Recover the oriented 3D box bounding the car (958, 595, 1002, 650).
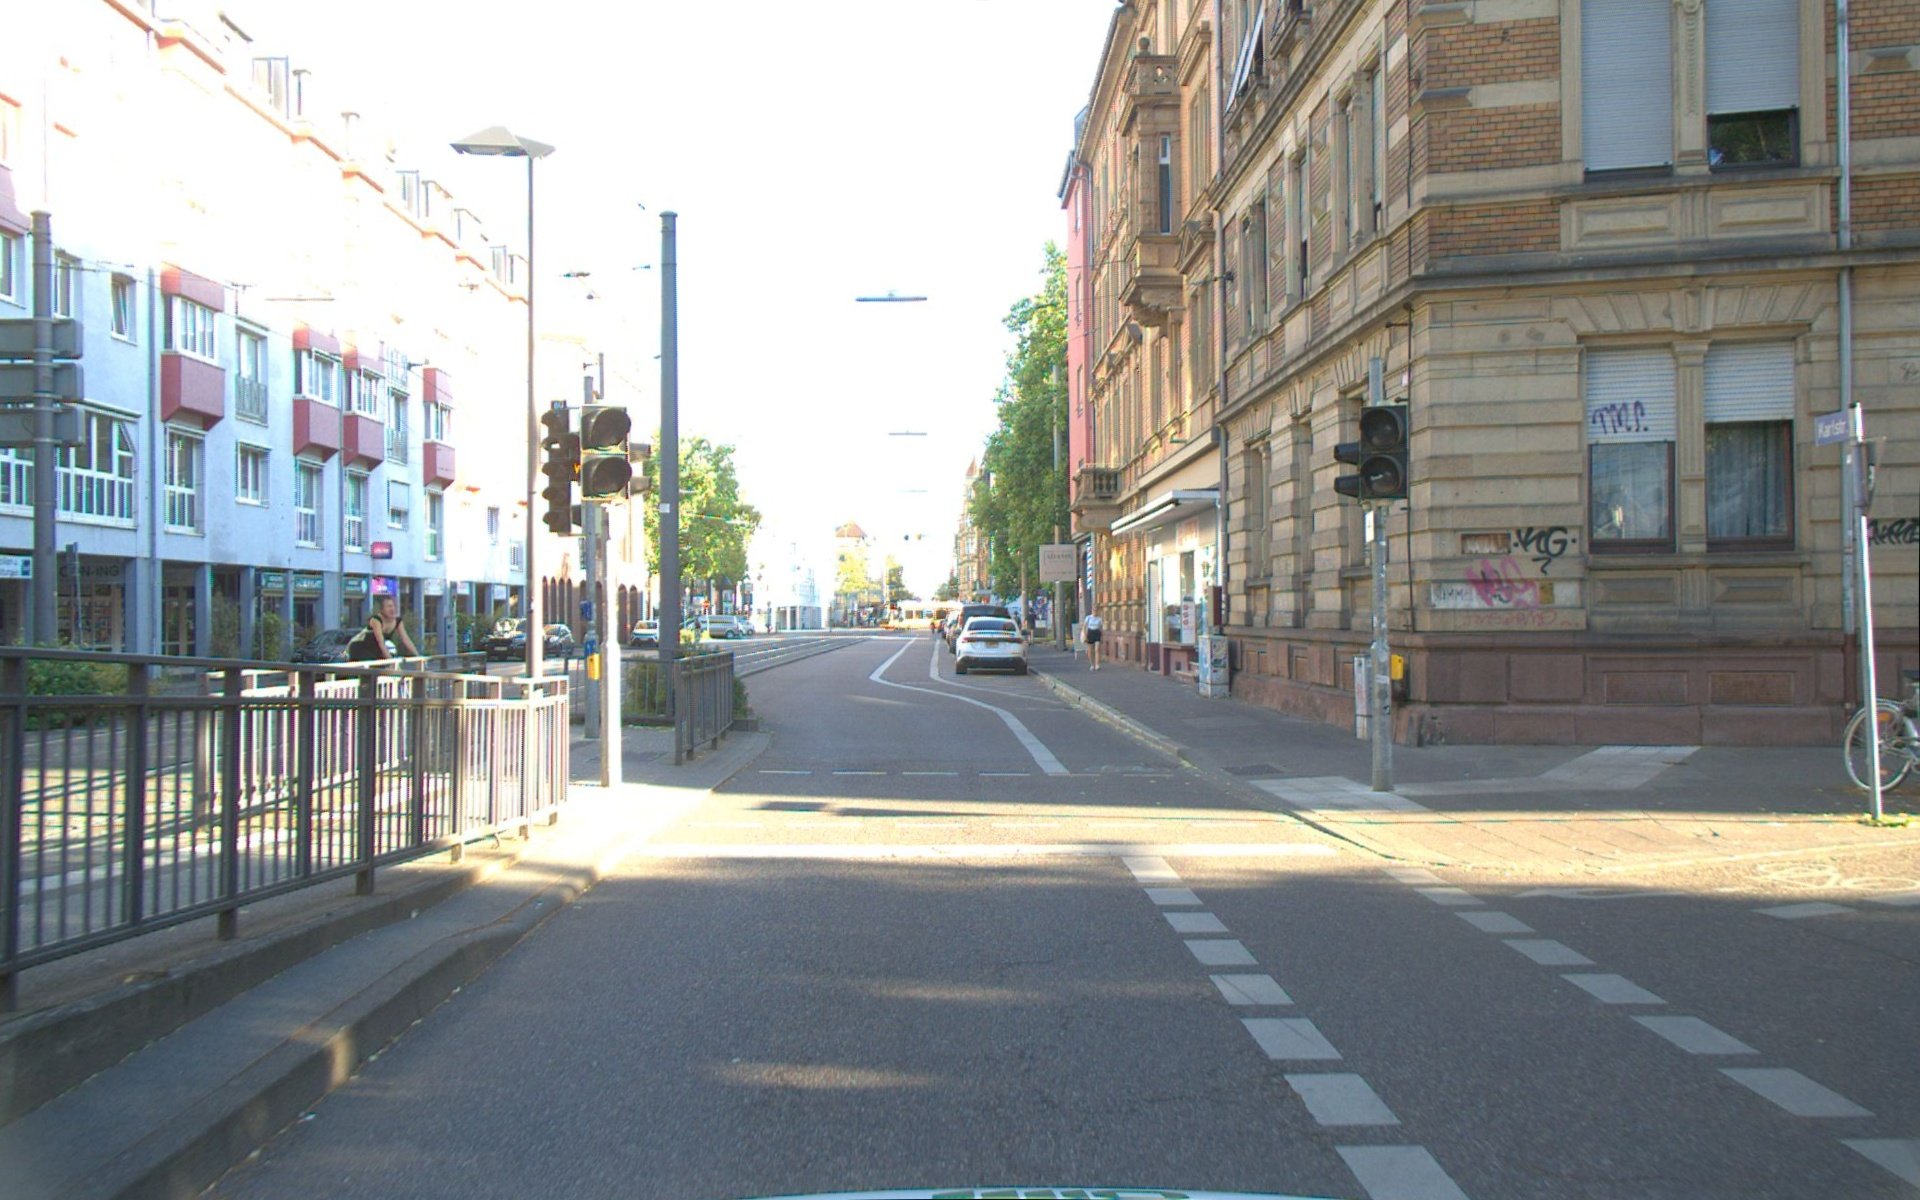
[{"bbox_3d":[0.831,0.911,66.907,1.670,2.157,3.707,0,-1,2],"label":"car"}]

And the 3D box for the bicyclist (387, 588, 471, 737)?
[{"bbox_3d":[-5.855,0.676,18.250,0.729,1.606,0.533,-1,-1,30],"label":"bicyclist"}]

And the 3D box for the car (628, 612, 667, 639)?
[{"bbox_3d":[-19.136,1.549,101.543,1.832,1.628,4.251,0,0,-4],"label":"car"}]

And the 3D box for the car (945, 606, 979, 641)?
[{"bbox_3d":[0.121,1.426,101.921,1.931,2.049,4.557,-2,-1,0],"label":"car"}]

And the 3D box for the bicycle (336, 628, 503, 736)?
[{"bbox_3d":[-5.993,0.888,18.312,1.856,1.096,0.583,2,-1,27],"label":"bicycle"}]

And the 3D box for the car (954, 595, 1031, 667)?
[{"bbox_3d":[0.826,0.811,44.217,1.926,1.803,4.874,1,-1,0],"label":"car"}]

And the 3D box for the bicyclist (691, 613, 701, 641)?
[{"bbox_3d":[-16.809,1.707,105.265,0.561,1.742,0.744,-2,-1,-10],"label":"bicyclist"}]

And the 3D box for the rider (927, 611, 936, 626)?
[{"bbox_3d":[-2.843,1.863,165.986,0.865,1.507,0.713,1,-1,0],"label":"rider"}]

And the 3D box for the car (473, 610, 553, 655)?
[{"bbox_3d":[-18.202,1.333,67.589,2.048,1.743,4.817,1,-2,-2],"label":"car"}]

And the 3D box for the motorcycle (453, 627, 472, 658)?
[{"bbox_3d":[-19.743,1.682,65.653,0.659,1.226,2.130,1,-2,-17],"label":"motorcycle"}]

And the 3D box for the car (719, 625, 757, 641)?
[{"bbox_3d":[-22.717,3.350,169.122,3.487,1.507,1.564,2,-1,-33],"label":"car"}]

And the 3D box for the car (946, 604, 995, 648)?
[{"bbox_3d":[0.420,1.135,72.278,1.910,1.819,5.179,1,-1,-2],"label":"car"}]

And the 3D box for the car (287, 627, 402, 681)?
[{"bbox_3d":[-17.931,1.557,48.411,1.832,1.464,4.703,1,-1,-4],"label":"car"}]

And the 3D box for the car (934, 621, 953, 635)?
[{"bbox_3d":[-1.781,3.009,180.205,2.024,1.413,4.224,2,-1,-1],"label":"car"}]

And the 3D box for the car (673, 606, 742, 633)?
[{"bbox_3d":[-21.274,1.683,139.536,5.204,2.078,2.391,2,-3,-33],"label":"car"}]

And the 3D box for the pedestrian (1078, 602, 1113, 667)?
[{"bbox_3d":[3.485,0.884,42.634,0.760,1.594,0.914,-4,-1,2],"label":"pedestrian"}]

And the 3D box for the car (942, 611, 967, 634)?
[{"bbox_3d":[-0.408,1.658,120.674,1.688,1.595,4.081,-1,-1,-1],"label":"car"}]

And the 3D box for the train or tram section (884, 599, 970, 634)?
[{"bbox_3d":[-4.081,2.098,210.988,11.979,4.029,2.661,3,-1,-41],"label":"train or tram section"}]

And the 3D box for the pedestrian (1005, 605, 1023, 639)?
[{"bbox_3d":[2.633,1.087,80.355,0.760,1.594,0.913,-4,-1,0],"label":"pedestrian"}]

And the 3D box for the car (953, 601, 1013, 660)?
[{"bbox_3d":[0.757,1.008,56.178,1.915,1.901,4.988,1,-1,0],"label":"car"}]

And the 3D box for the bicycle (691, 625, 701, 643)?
[{"bbox_3d":[-16.784,2.170,105.182,0.572,1.096,2.180,-2,-1,-10],"label":"bicycle"}]

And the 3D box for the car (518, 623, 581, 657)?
[{"bbox_3d":[-18.603,1.807,75.041,1.830,1.476,3.584,1,-1,2],"label":"car"}]

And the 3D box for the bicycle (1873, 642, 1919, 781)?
[{"bbox_3d":[7.693,0.853,12.191,0.410,1.042,1.897,0,0,-19],"label":"bicycle"}]

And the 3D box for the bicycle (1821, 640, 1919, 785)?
[{"bbox_3d":[7.291,0.838,12.184,0.444,1.042,1.897,0,0,-19],"label":"bicycle"}]

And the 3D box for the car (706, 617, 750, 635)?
[{"bbox_3d":[-22.263,2.495,158.781,3.831,1.656,1.855,2,-1,-32],"label":"car"}]

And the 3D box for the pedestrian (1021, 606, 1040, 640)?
[{"bbox_3d":[3.423,1.116,80.396,0.760,1.594,0.913,-4,-1,0],"label":"pedestrian"}]
